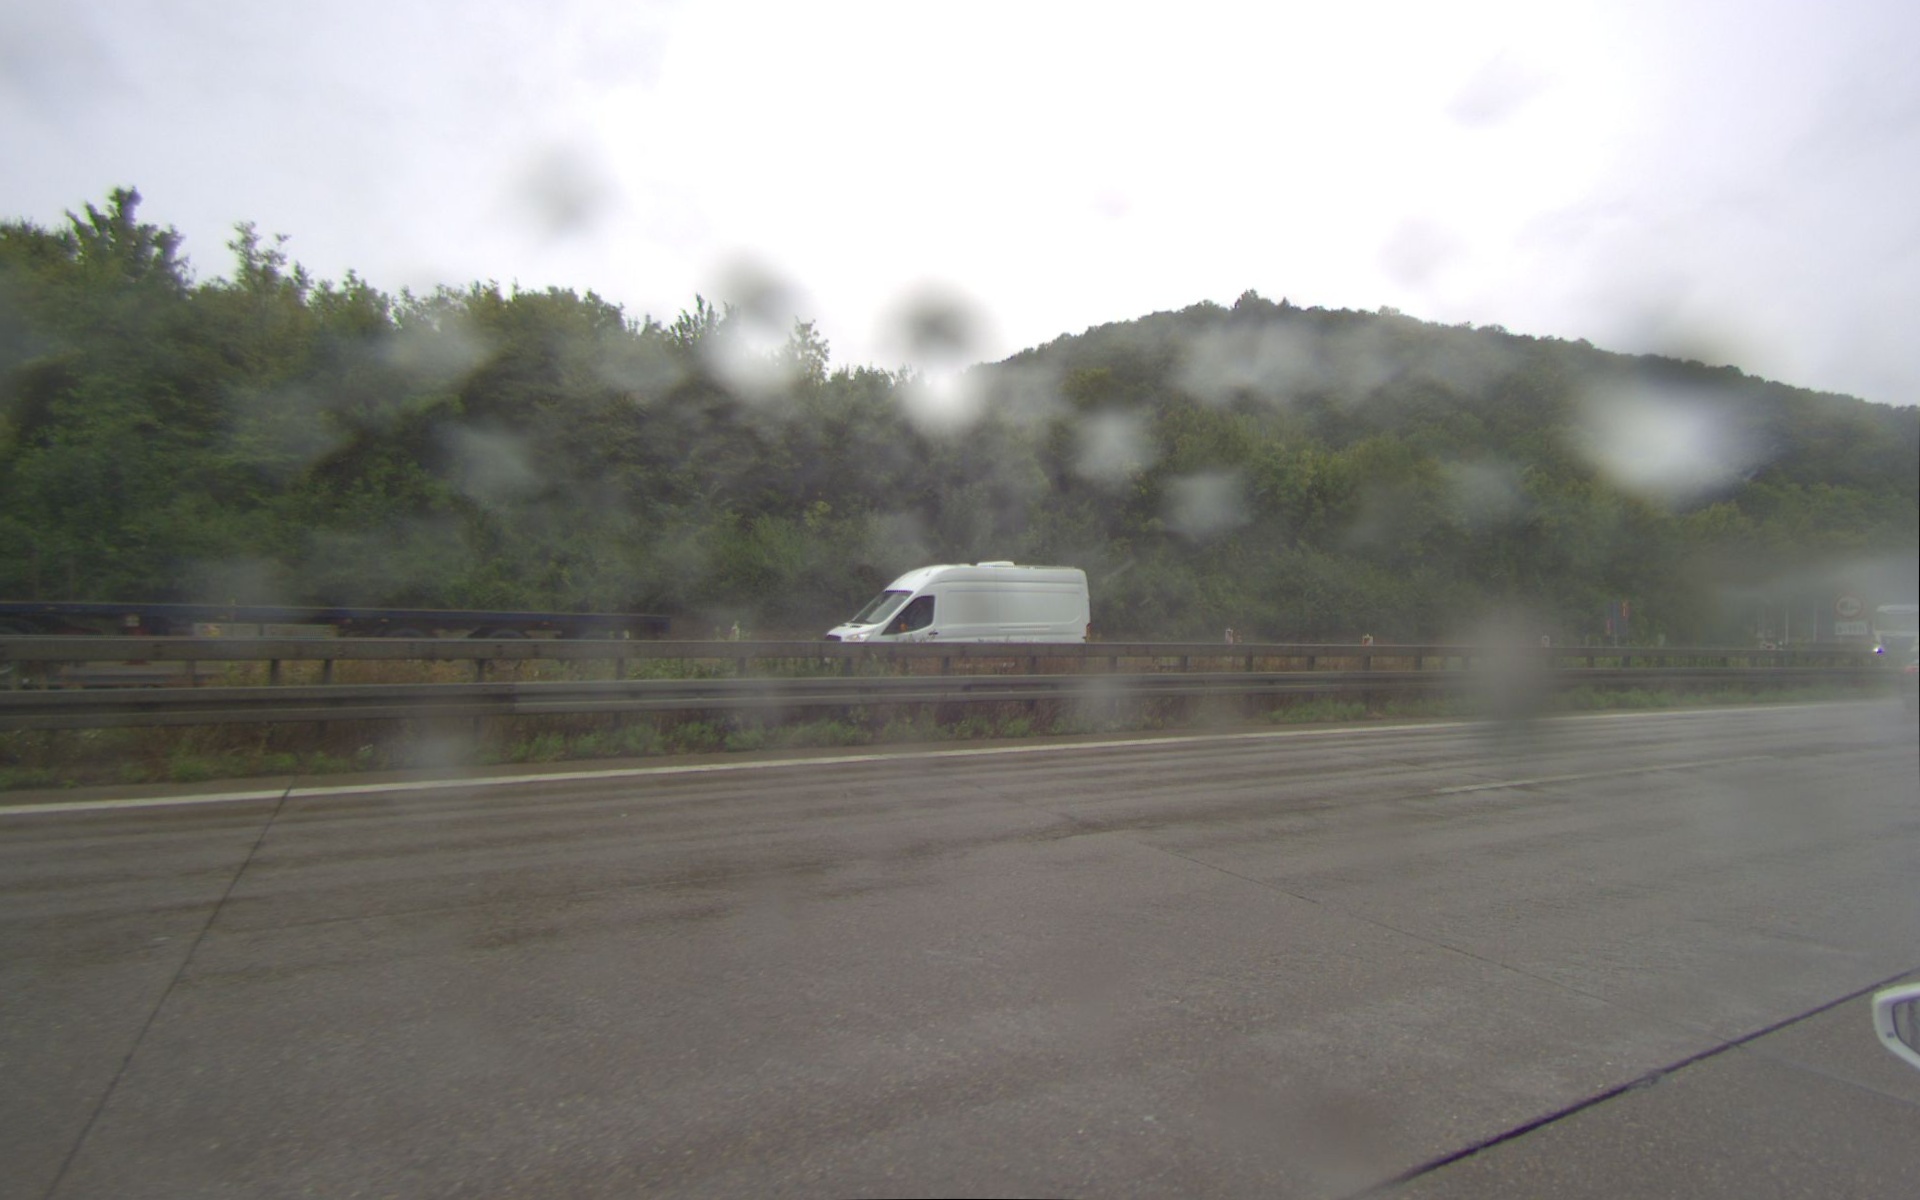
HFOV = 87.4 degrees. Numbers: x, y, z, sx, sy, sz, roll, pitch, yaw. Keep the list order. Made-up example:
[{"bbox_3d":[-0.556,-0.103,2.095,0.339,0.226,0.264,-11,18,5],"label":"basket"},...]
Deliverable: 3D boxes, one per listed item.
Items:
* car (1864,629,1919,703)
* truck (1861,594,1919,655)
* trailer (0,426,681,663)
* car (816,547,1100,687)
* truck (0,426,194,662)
[{"bbox_3d":[19.819,1.301,19.730,4.300,1.357,1.847,2,0,-30],"label":"car"},{"bbox_3d":[57.526,1.508,59.194,11.370,3.360,2.763,2,0,-28],"label":"truck"},{"bbox_3d":[-12.452,-0.798,20.329,12.713,3.908,3.123,2,0,-29],"label":"trailer"},{"bbox_3d":[0.054,0.418,23.491,6.457,2.939,2.078,2,0,-30],"label":"car"},{"bbox_3d":[-17.817,-0.970,17.326,6.802,3.908,3.123,2,0,-29],"label":"truck"}]
